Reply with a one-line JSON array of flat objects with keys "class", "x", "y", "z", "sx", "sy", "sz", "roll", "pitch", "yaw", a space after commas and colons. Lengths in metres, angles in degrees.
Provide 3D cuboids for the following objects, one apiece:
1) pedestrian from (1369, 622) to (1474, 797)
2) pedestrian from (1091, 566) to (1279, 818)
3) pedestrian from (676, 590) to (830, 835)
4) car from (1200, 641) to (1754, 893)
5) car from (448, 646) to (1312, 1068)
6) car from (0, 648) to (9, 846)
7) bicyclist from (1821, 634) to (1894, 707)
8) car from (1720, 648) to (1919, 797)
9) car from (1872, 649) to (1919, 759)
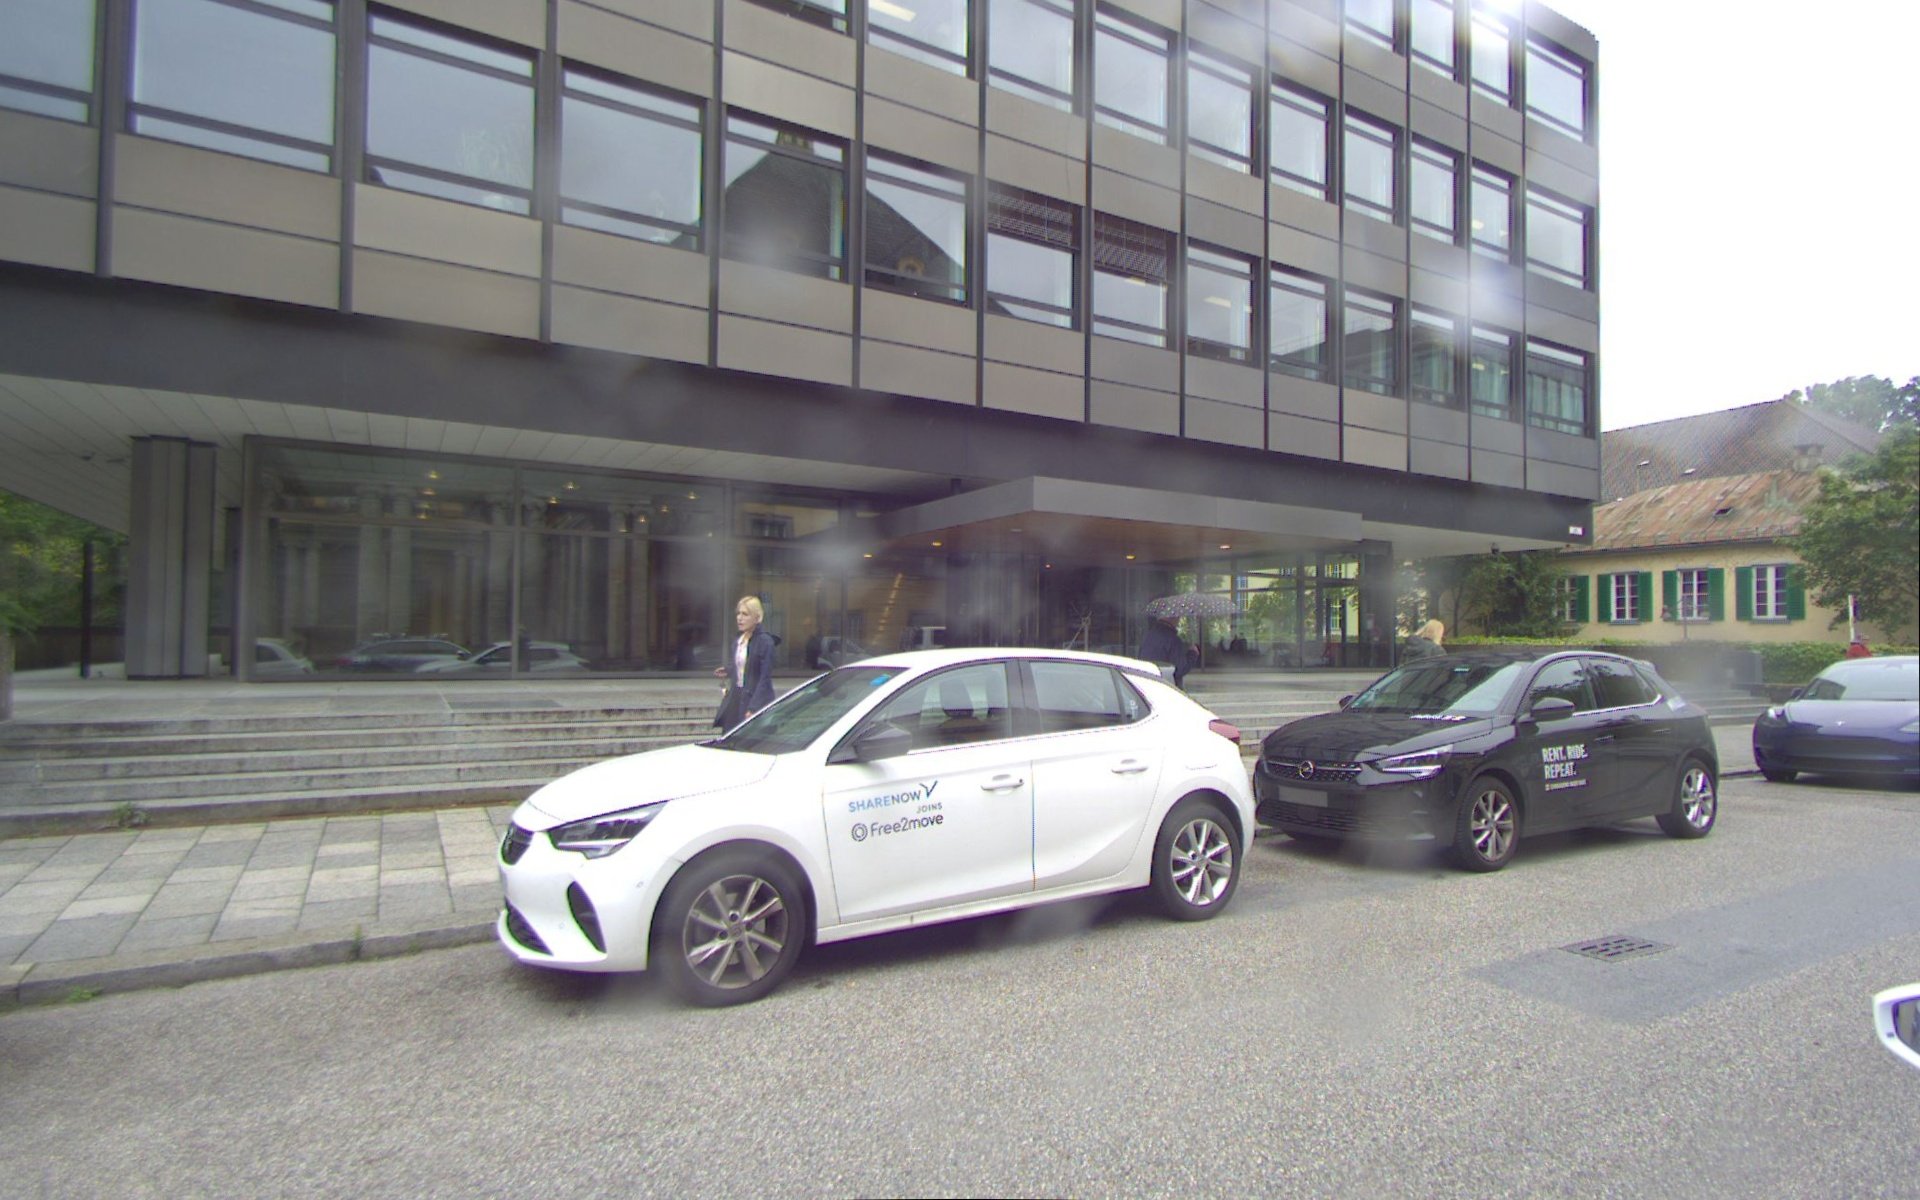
[{"class": "pedestrian", "x": 4.957, "y": 1.134, "z": 10.784, "sx": 0.745, "sy": 1.772, "sz": 0.947, "roll": -1, "pitch": -3, "yaw": 44}, {"class": "pedestrian", "x": 2.030, "y": 0.784, "z": 9.120, "sx": 1.207, "sy": 2.082, "sz": 1.129, "roll": 2, "pitch": -1, "yaw": -31}, {"class": "pedestrian", "x": -1.612, "y": 0.833, "z": 7.878, "sx": 0.680, "sy": 1.775, "sz": 0.888, "roll": 2, "pitch": -1, "yaw": 42}, {"class": "car", "x": 4.046, "y": 1.105, "z": 7.751, "sx": 4.185, "sy": 1.480, "sz": 1.733, "roll": 2, "pitch": -5, "yaw": -29}, {"class": "car", "x": -0.291, "y": 1.018, "z": 5.313, "sx": 4.228, "sy": 1.458, "sz": 1.675, "roll": 2, "pitch": -5, "yaw": -30}, {"class": "car", "x": -5.035, "y": 0.850, "z": 2.525, "sx": 3.512, "sy": 1.489, "sz": 1.537, "roll": 2, "pitch": -4, "yaw": -31}, {"class": "bicyclist", "x": 19.289, "y": 1.512, "z": 21.623, "sx": 1.077, "sy": 1.517, "sz": 0.672, "roll": 0, "pitch": -4, "yaw": 35}, {"class": "car", "x": 11.170, "y": 1.341, "z": 11.804, "sx": 4.863, "sy": 1.458, "sz": 1.913, "roll": 2, "pitch": -5, "yaw": -32}, {"class": "car", "x": 15.571, "y": 1.472, "z": 14.584, "sx": 4.824, "sy": 1.510, "sz": 1.986, "roll": 2, "pitch": -4, "yaw": -29}]
